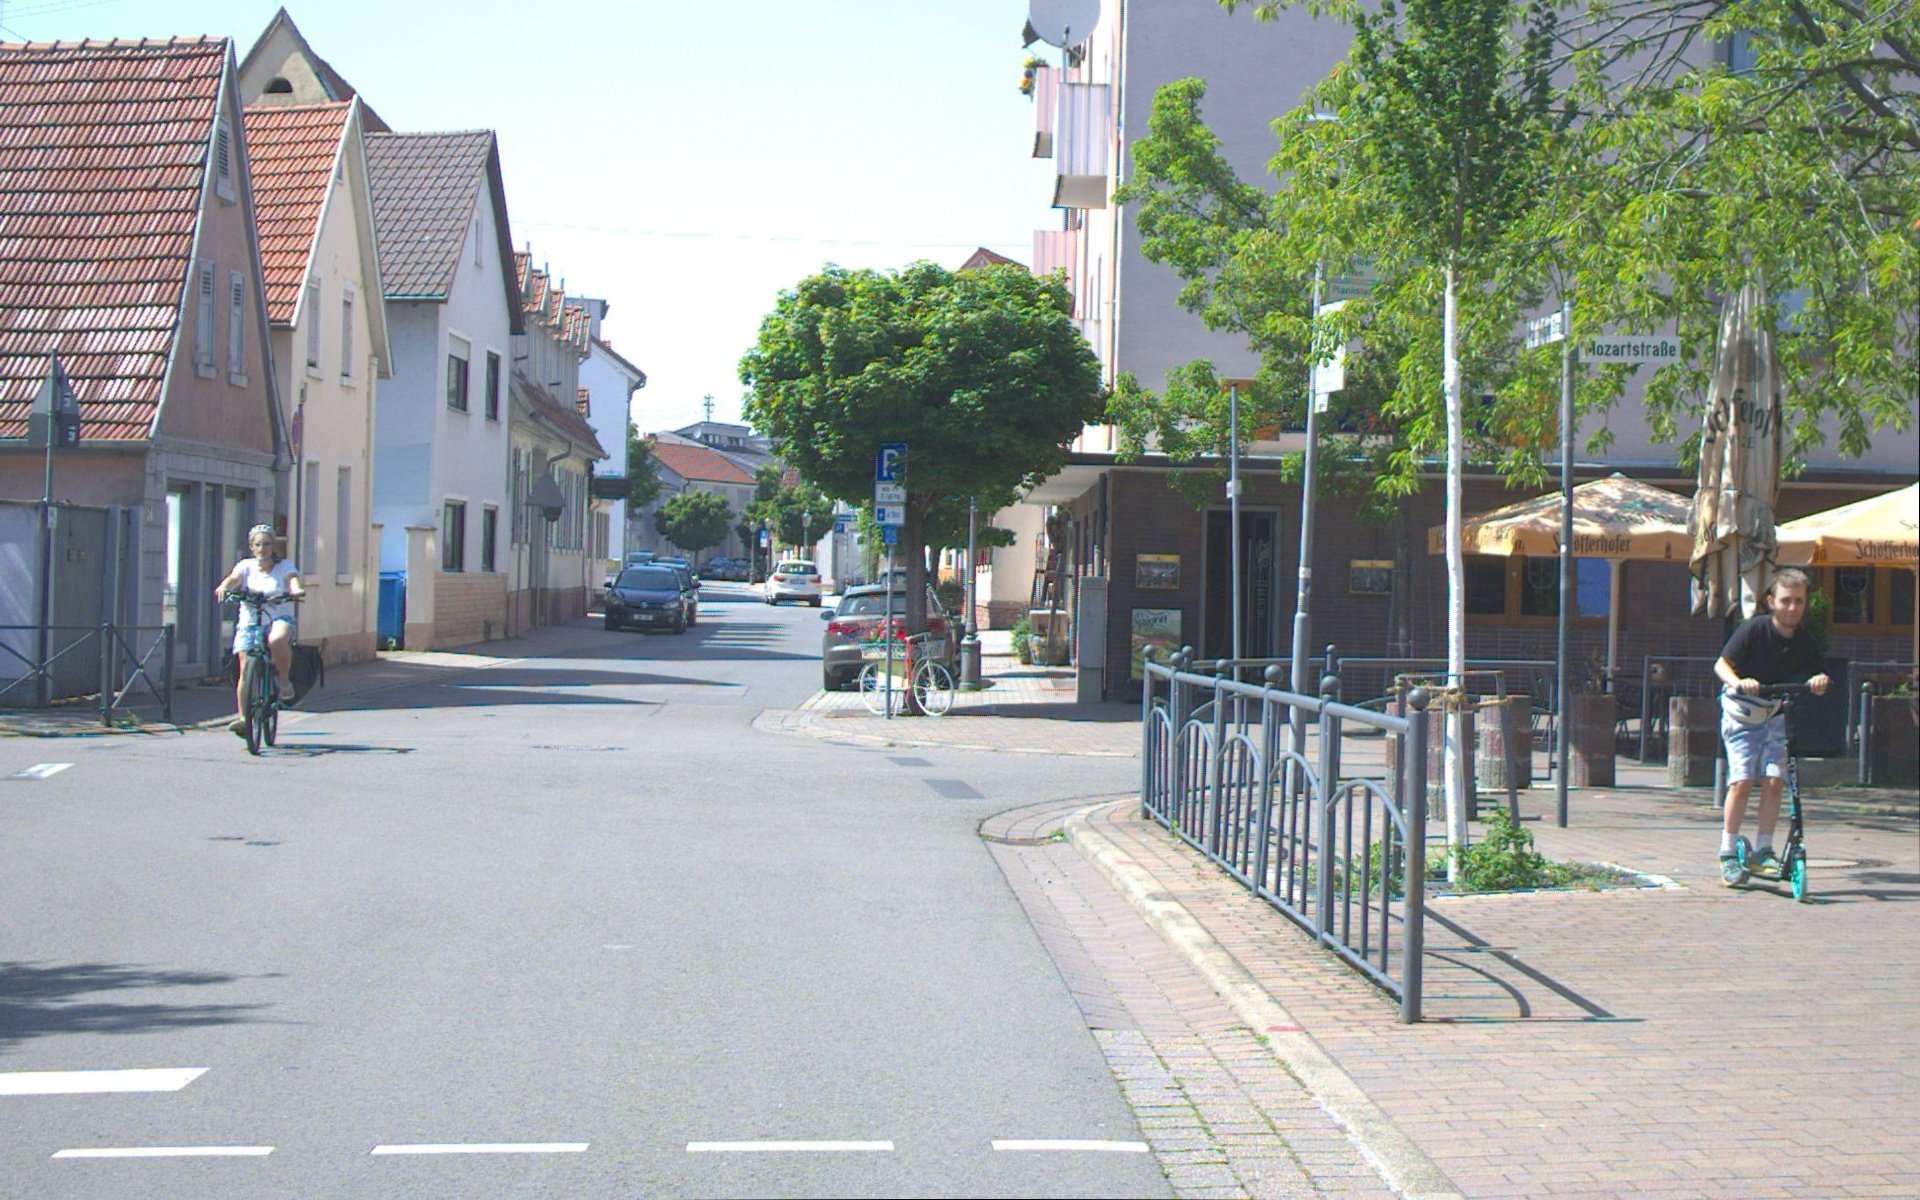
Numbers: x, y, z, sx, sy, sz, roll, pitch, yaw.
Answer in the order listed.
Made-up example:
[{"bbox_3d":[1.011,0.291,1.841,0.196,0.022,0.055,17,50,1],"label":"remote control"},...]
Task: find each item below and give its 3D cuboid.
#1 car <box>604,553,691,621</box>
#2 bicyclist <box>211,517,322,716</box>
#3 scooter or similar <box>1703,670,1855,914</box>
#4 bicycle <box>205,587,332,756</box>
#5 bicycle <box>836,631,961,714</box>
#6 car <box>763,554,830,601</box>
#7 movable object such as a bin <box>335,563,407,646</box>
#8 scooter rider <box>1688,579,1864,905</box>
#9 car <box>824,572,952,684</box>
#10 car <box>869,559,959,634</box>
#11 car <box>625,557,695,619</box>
[{"bbox_3d":[-7.075,-0.307,78.193,1.663,1.471,4.135,1,1,-1],"label":"car"},{"bbox_3d":[-5.345,0.123,26.527,0.714,1.501,0.871,1,0,-4],"label":"bicyclist"},{"bbox_3d":[3.454,0.794,14.537,0.411,0.962,0.960,1,0,1],"label":"scooter or similar"},{"bbox_3d":[-5.358,0.532,26.734,0.708,1.248,1.972,1,1,-4],"label":"bicycle"},{"bbox_3d":[-0.697,0.811,38.578,1.412,0.894,0.464,0,1,36],"label":"bicycle"},{"bbox_3d":[-5.775,-0.805,120.952,2.026,1.592,4.510,1,1,-6],"label":"car"},{"bbox_3d":[-9.725,0.070,56.774,1.102,1.361,0.390,1,0,3],"label":"movable object such as a bin"},{"bbox_3d":[3.445,0.576,14.576,0.461,1.320,1.133,1,0,0],"label":"scooter rider"},{"bbox_3d":[-0.956,0.361,47.193,1.576,1.449,3.486,1,0,1],"label":"car"},{"bbox_3d":[-1.078,-0.105,81.060,2.043,1.683,4.842,1,1,-1],"label":"car"},{"bbox_3d":[-7.382,-0.304,84.747,1.663,1.471,3.451,1,1,-4],"label":"car"}]
